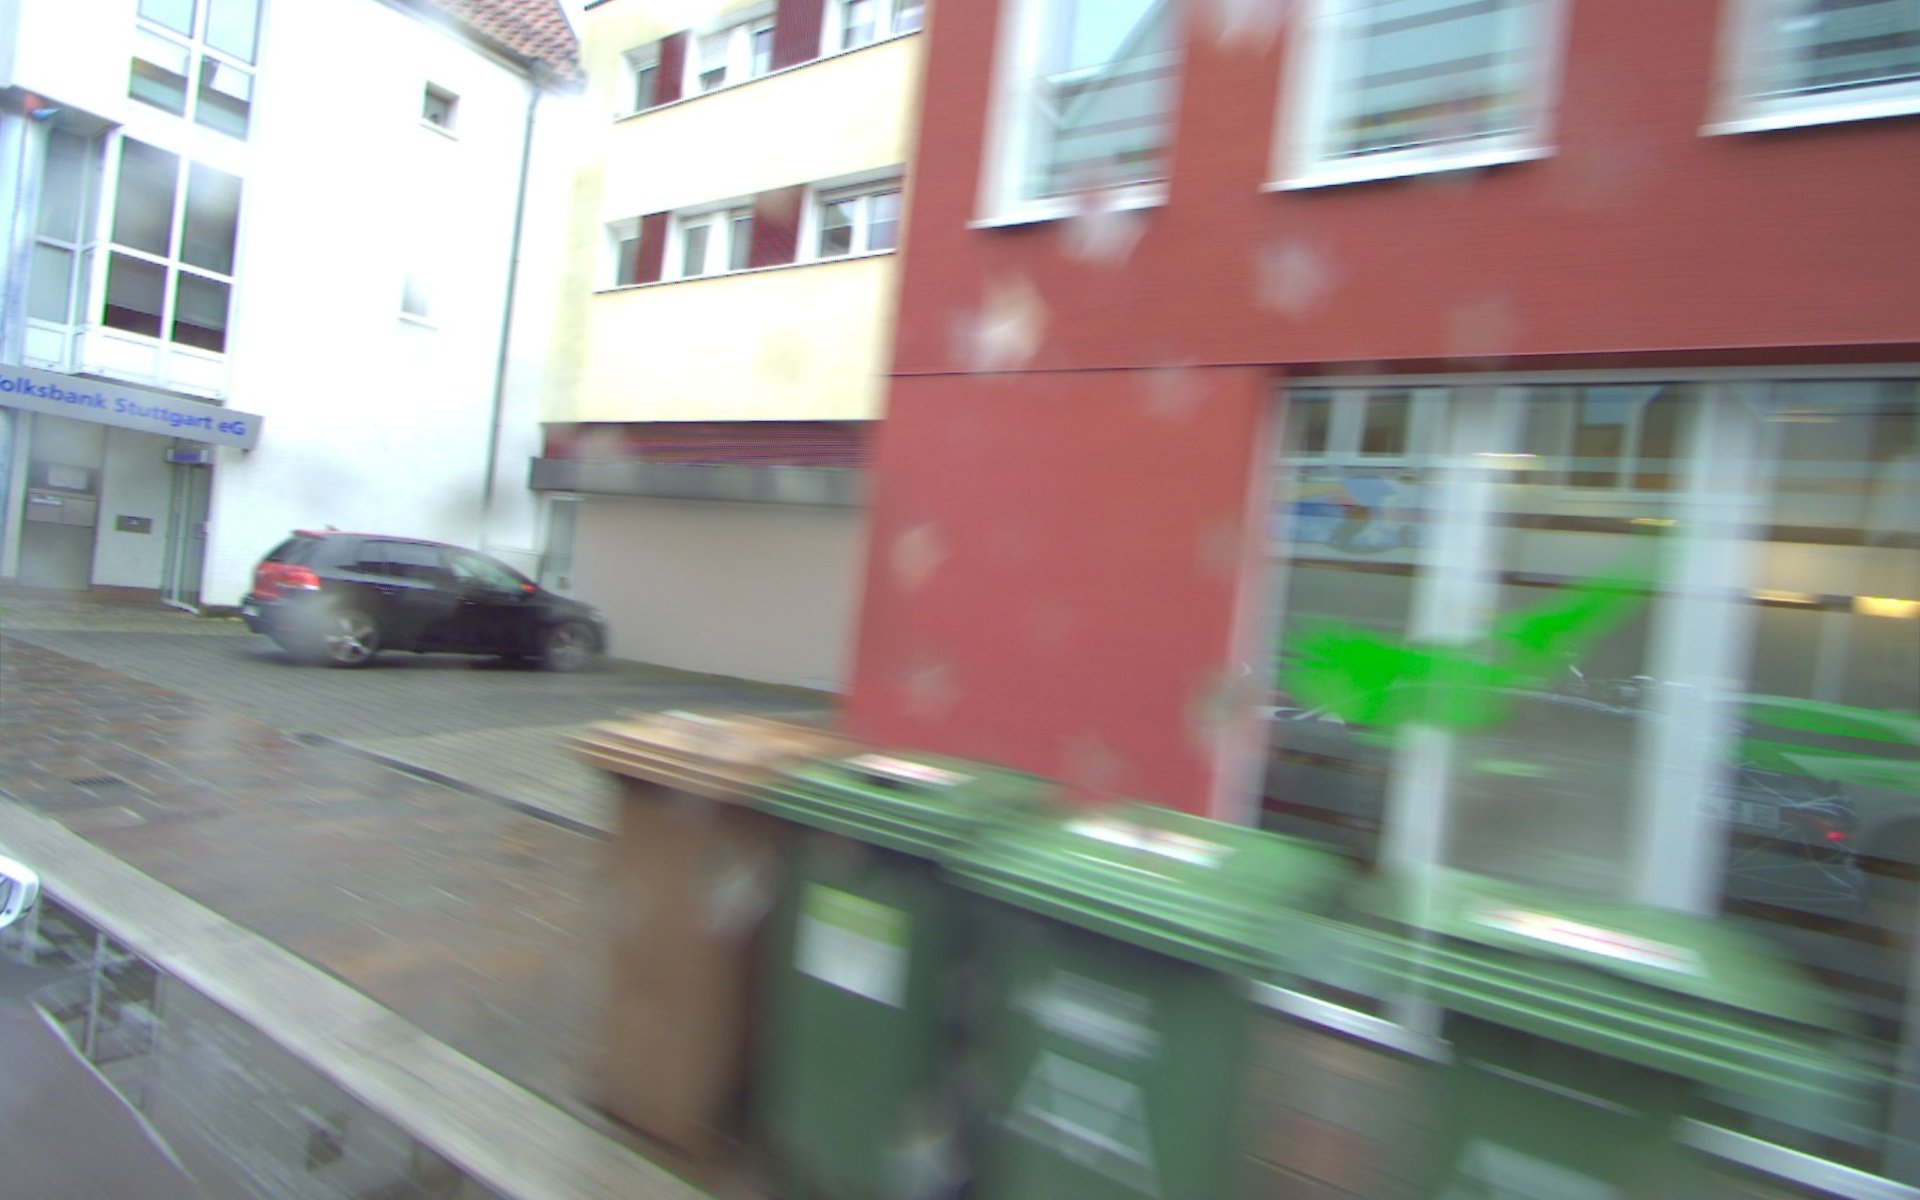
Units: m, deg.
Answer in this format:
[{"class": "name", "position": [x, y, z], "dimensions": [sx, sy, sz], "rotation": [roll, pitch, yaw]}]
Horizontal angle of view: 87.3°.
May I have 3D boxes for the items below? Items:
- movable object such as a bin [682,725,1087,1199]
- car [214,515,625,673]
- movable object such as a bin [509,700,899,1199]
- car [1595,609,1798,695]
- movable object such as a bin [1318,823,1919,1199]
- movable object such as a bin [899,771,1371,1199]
[{"class": "movable object such as a bin", "position": [-0.161, 0.922, 2.517], "dimensions": [0.604, 1.108, 0.711], "rotation": [6, 0, 32]}, {"class": "car", "position": [-6.461, -0.002, 12.353], "dimensions": [1.885, 1.534, 3.979], "rotation": [7, 1, 41]}, {"class": "movable object such as a bin", "position": [-0.693, 0.875, 2.829], "dimensions": [0.636, 1.094, 0.730], "rotation": [6, 0, 32]}, {"class": "car", "position": [14.548, 1.031, 20.054], "dimensions": [3.082, 1.371, 1.396], "rotation": [5, -1, 34]}, {"class": "movable object such as a bin", "position": [1.060, 1.046, 1.752], "dimensions": [0.706, 1.100, 0.677], "rotation": [6, 0, 32]}, {"class": "movable object such as a bin", "position": [0.370, 0.983, 2.082], "dimensions": [0.686, 1.097, 0.677], "rotation": [6, 0, 32]}]
